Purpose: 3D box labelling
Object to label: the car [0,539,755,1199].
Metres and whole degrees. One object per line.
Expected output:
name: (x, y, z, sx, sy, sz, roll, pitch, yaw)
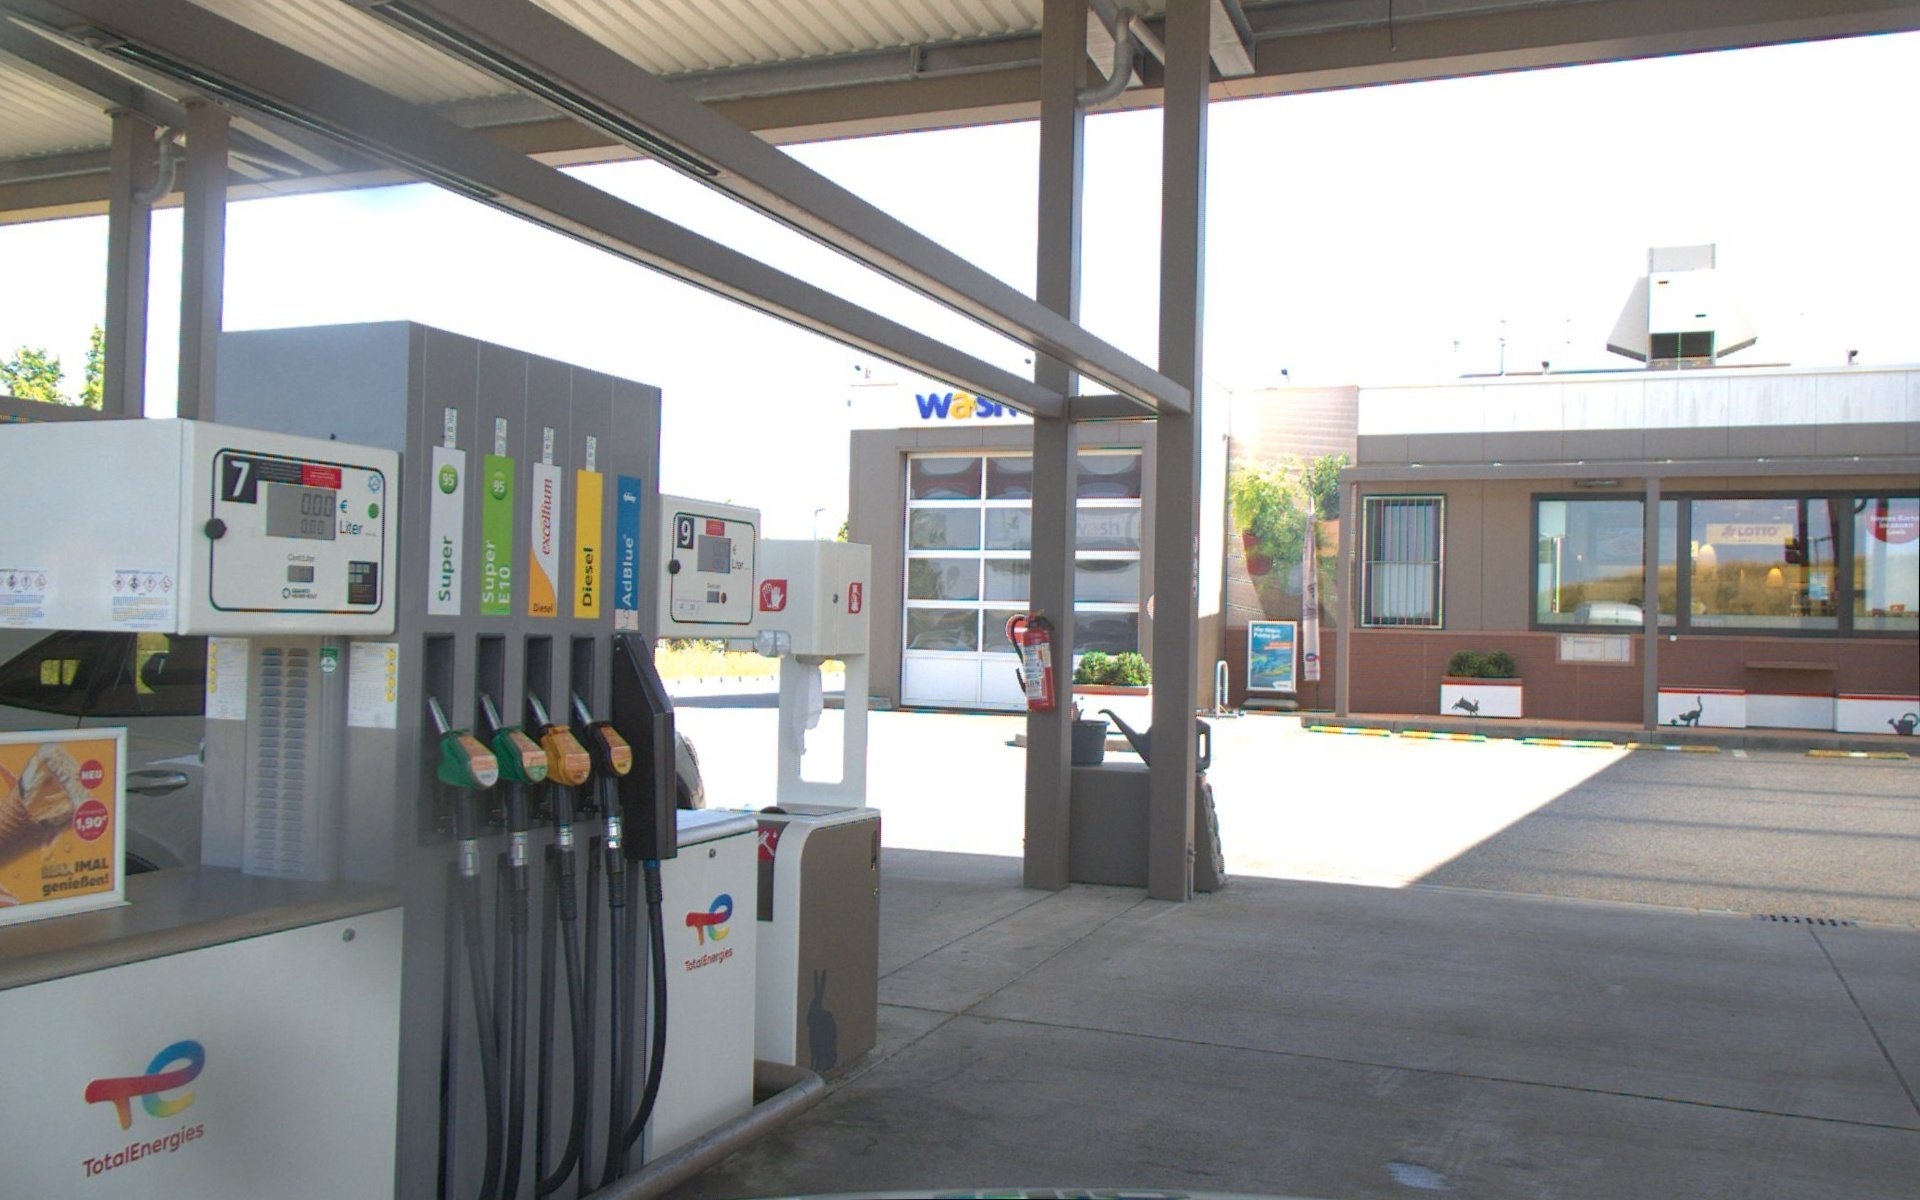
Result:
car: (-2.532, 0.656, 5.543, 1.744, 1.568, 4.324, 1, -1, 22)
